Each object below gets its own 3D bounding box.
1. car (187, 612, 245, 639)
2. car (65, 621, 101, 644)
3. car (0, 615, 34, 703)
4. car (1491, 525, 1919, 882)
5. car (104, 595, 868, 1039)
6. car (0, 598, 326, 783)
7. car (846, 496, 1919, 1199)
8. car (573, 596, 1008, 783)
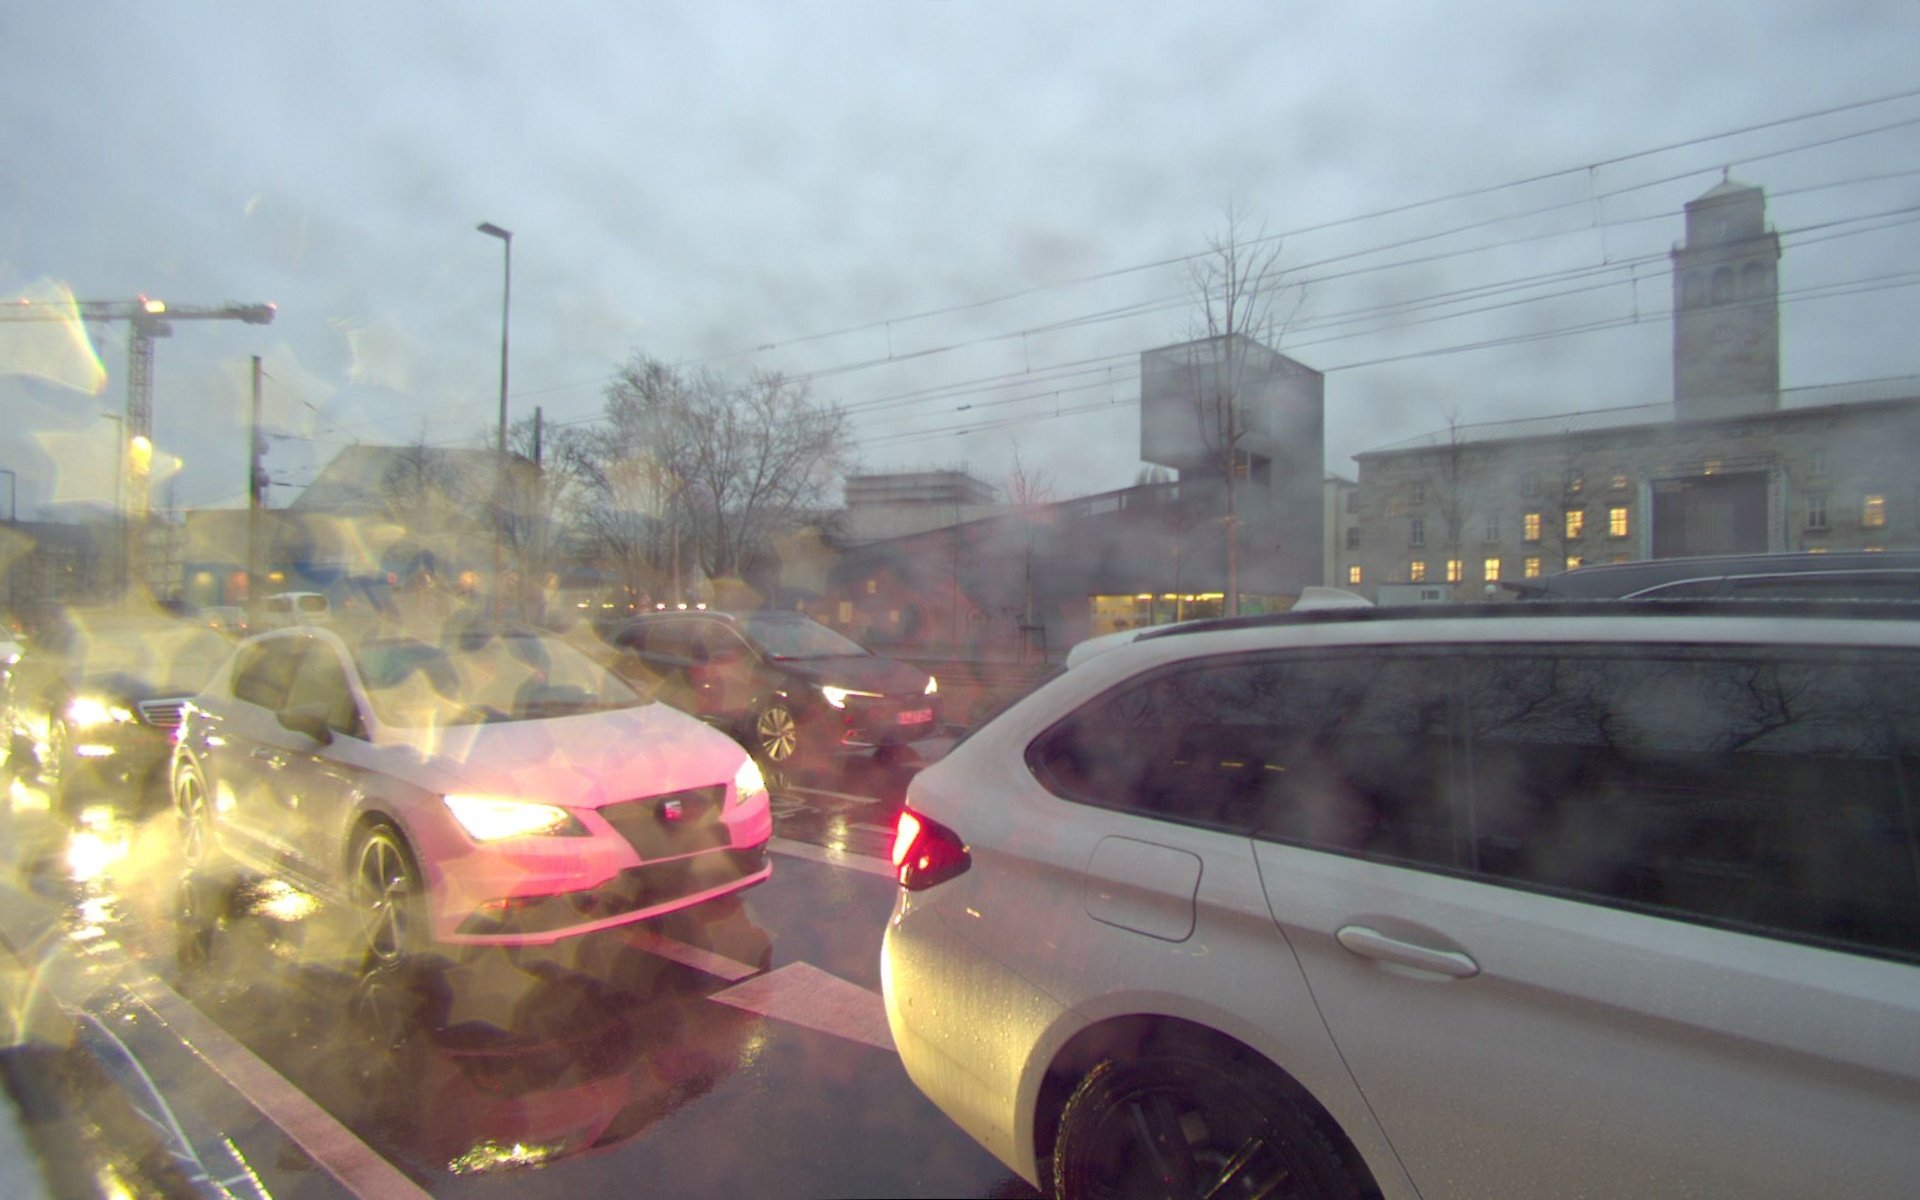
[{"bbox_3d":[-52.876,1.798,71.939,3.989,1.910,2.072,-1,-2,34],"label":"car"},{"bbox_3d":[-81.463,2.964,93.980,3.998,2.029,1.973,-1,0,41],"label":"car"},{"bbox_3d":[-19.275,1.099,19.348,3.998,1.586,1.882,-1,0,41],"label":"car"},{"bbox_3d":[5.231,0.471,4.996,4.289,1.596,1.946,-1,-1,42],"label":"car"},{"bbox_3d":[-2.829,0.767,5.578,4.497,1.498,1.926,-1,0,37],"label":"car"},{"bbox_3d":[-8.479,0.784,10.420,4.501,1.498,1.974,-1,-2,39],"label":"car"},{"bbox_3d":[2.103,0.642,1.644,4.557,1.498,1.996,-1,-2,41],"label":"car"},{"bbox_3d":[-1.911,0.751,10.444,4.659,1.519,1.830,0,-1,39],"label":"car"}]
